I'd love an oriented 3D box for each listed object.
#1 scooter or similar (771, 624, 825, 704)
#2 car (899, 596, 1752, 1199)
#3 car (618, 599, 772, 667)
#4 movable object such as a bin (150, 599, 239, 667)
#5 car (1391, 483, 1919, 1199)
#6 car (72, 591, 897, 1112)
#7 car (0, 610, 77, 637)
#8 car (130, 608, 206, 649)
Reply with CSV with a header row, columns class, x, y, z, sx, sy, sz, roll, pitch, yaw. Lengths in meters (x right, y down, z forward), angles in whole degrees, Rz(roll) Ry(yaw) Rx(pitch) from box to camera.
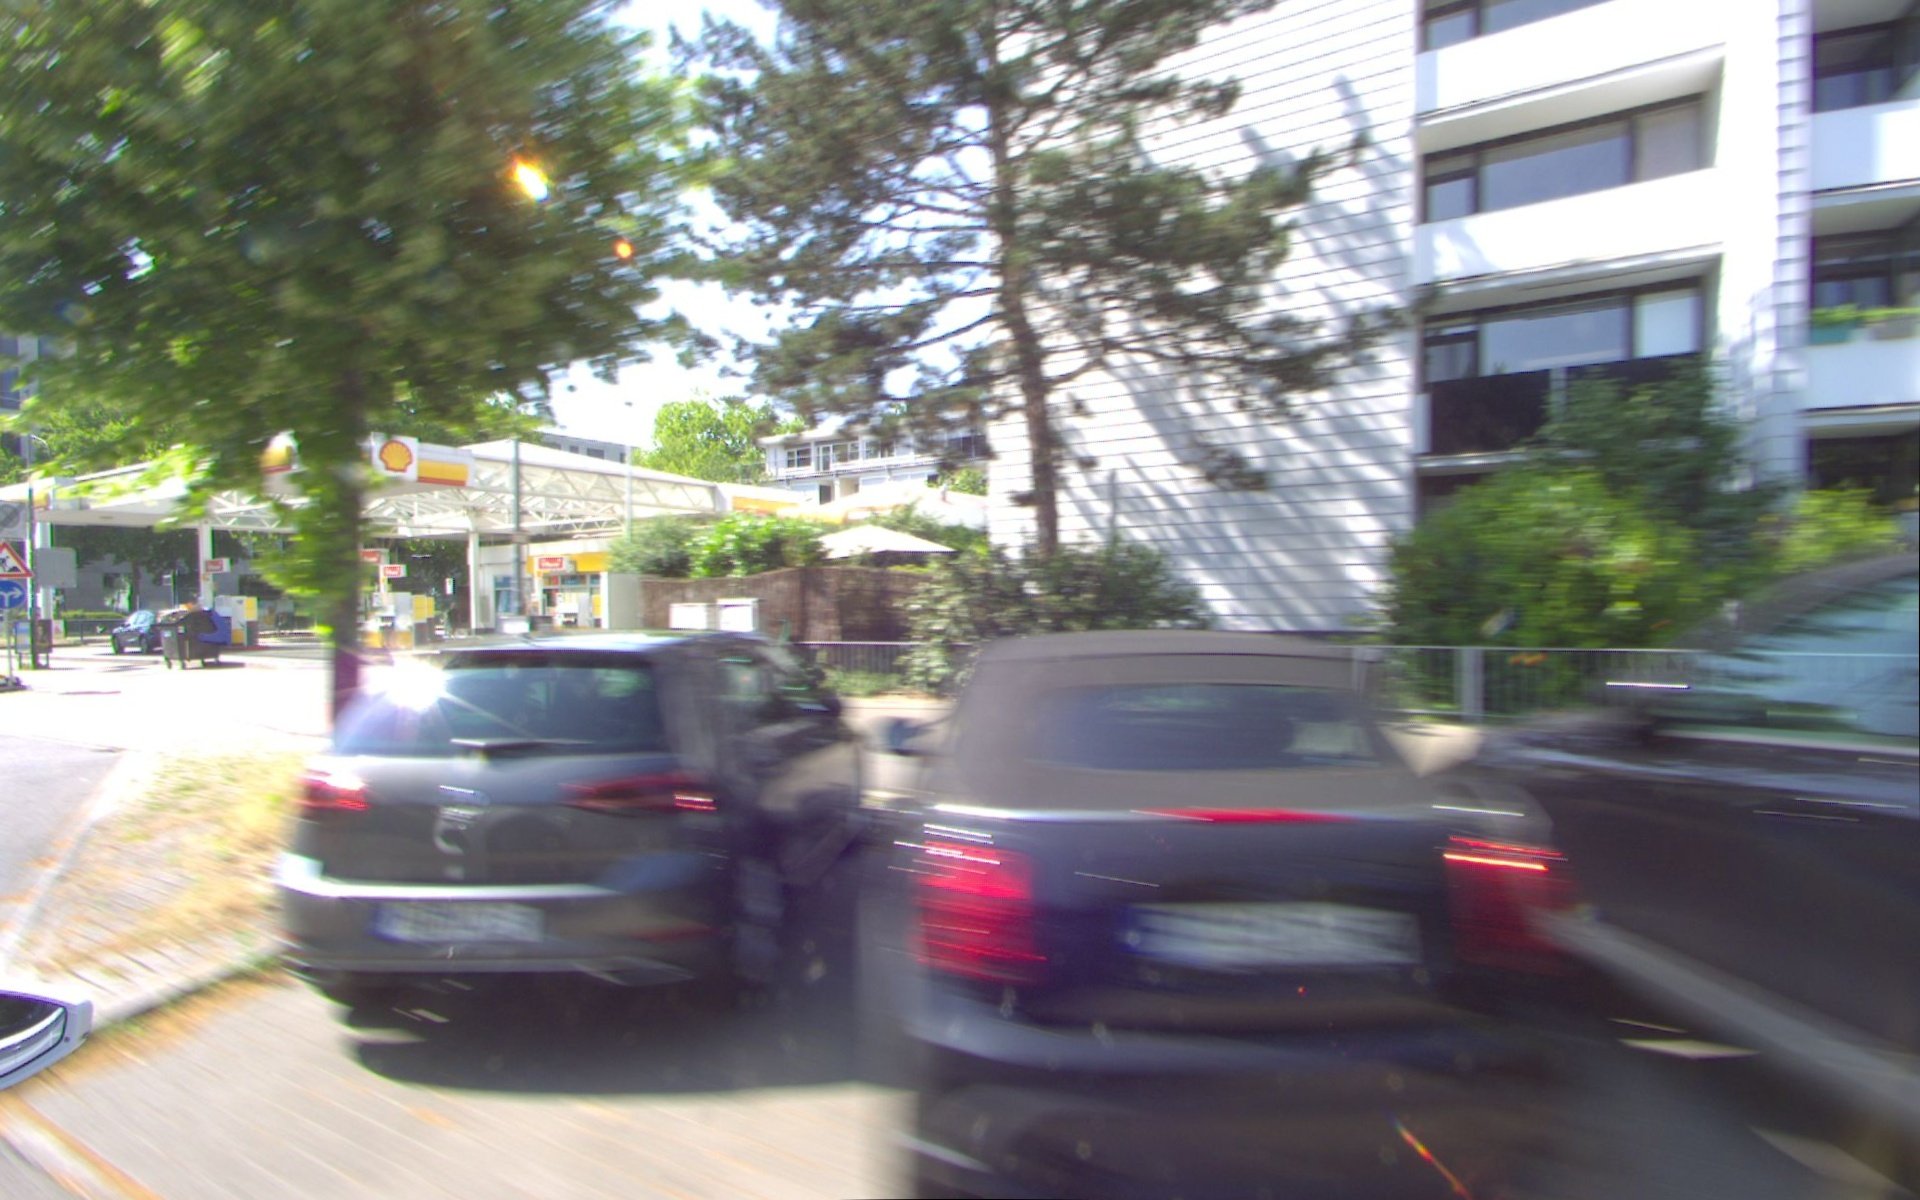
class,x,y,z,sx,sy,sz,roll,pitch,yaw
scooter or similar,-2.455,0.950,15.111,0.946,1.181,0.230,0,0,40
car,0.650,0.763,3.997,1.735,1.493,4.000,0,0,-3
car,-6.721,0.792,25.764,1.567,1.617,3.814,0,0,31
movable object such as a bin,-19.569,0.819,25.620,1.375,1.614,1.305,0,3,29
car,2.827,0.595,2.328,1.719,1.682,4.746,-1,0,2
car,-1.625,0.773,5.121,1.961,1.550,4.117,0,0,6
car,-59.903,1.470,63.987,1.970,1.658,4.847,-1,0,30
car,-28.866,1.014,36.472,3.602,1.416,1.641,-1,0,43
